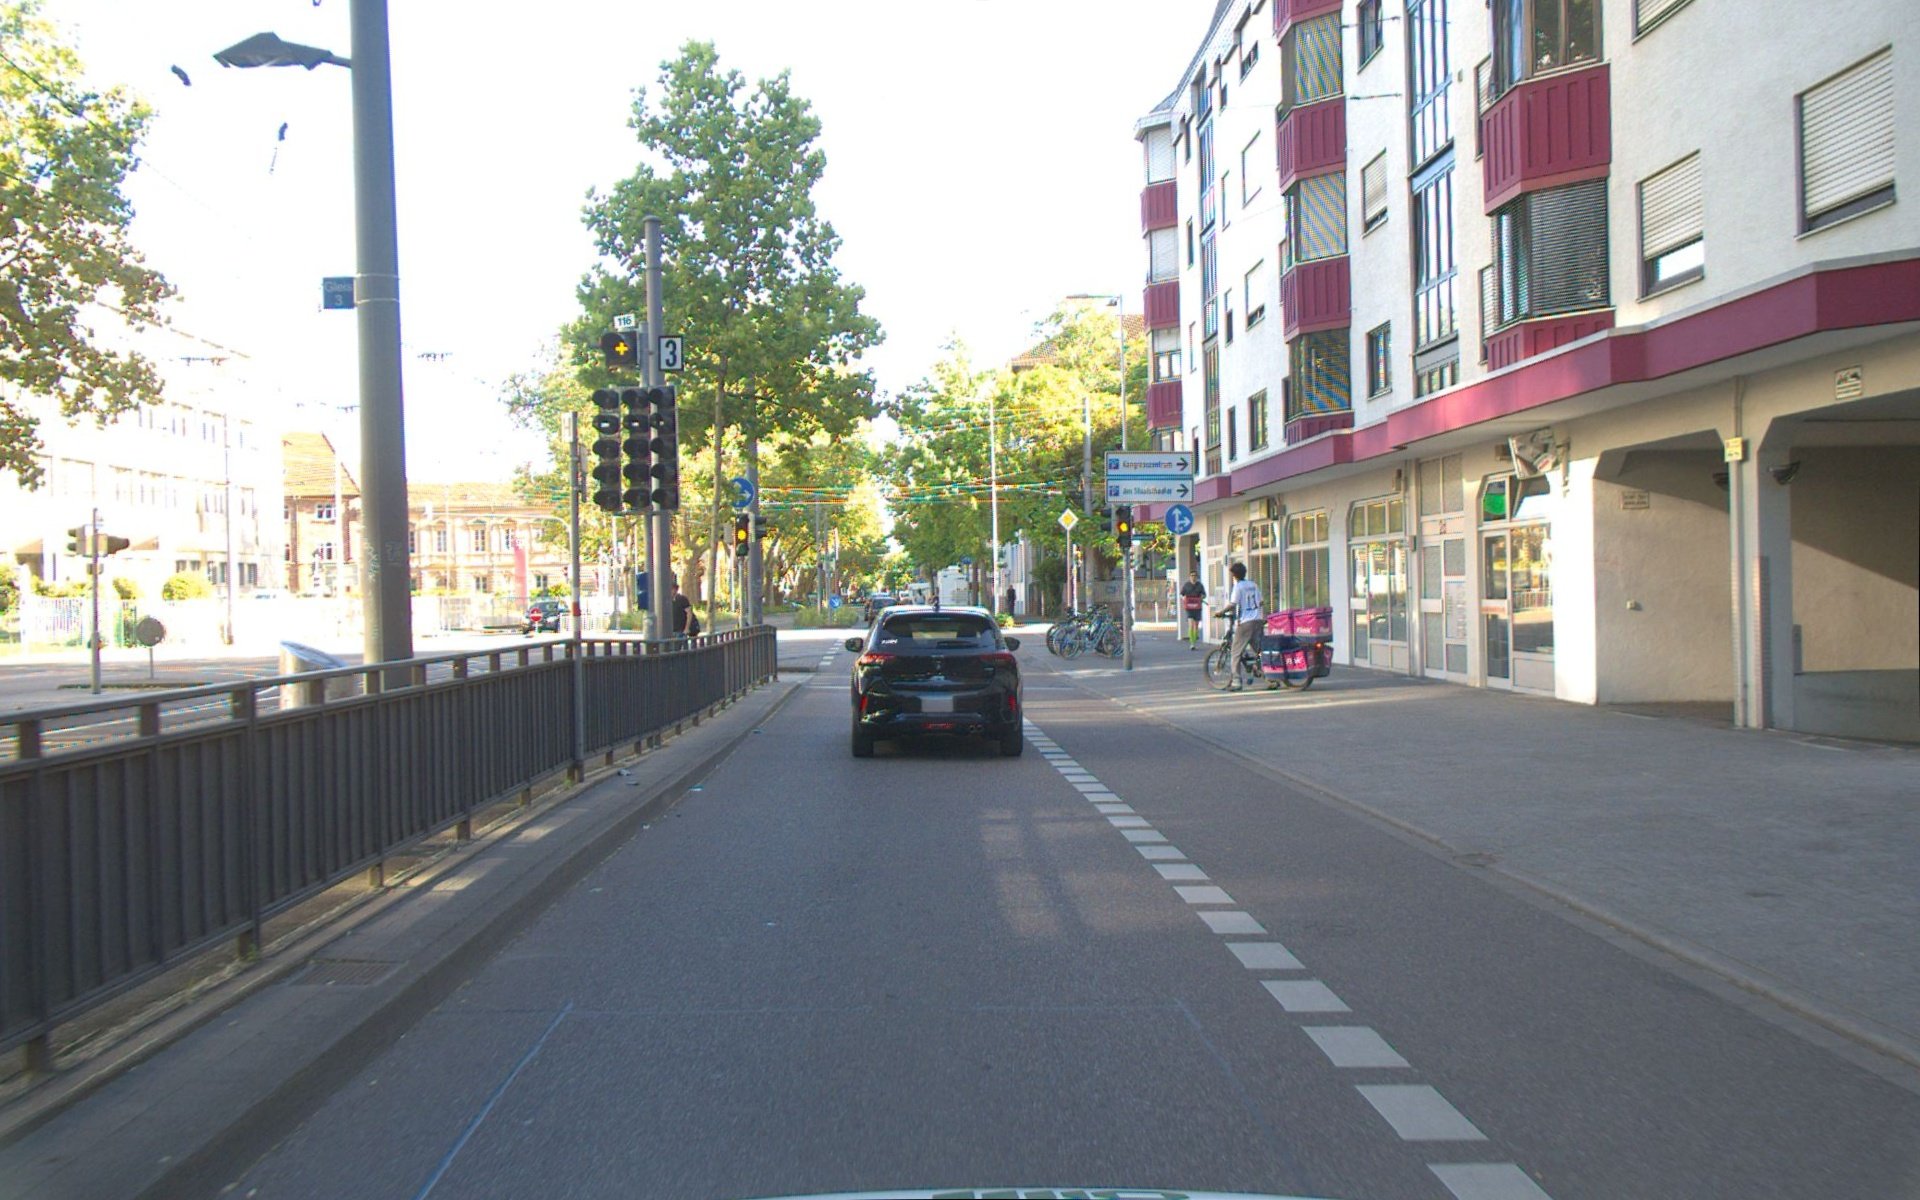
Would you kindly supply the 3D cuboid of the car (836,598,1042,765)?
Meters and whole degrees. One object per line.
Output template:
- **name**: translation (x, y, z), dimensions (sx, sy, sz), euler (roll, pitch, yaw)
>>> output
- **car**: translation (-0.230, 0.746, 17.358), dimensions (1.866, 1.450, 4.214), euler (-1, 1, -1)

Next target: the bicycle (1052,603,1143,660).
- **bicycle**: translation (3.041, 0.695, 36.589), dimensions (1.902, 1.190, 0.571), euler (-2, 0, -5)

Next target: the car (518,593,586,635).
- **car**: translation (-20.261, 0.671, 82.355), dimensions (1.951, 1.981, 4.427), euler (-1, 1, 4)

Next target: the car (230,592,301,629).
- **car**: translation (-40.844, 0.608, 97.391), dimensions (1.952, 2.049, 4.726), euler (-2, 1, 3)

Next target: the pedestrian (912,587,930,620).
- **pedestrian**: translation (-2.462, 0.239, 104.217), dimensions (1.015, 2.059, 1.212), euler (-1, 0, -3)

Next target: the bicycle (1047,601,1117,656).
- **bicycle**: translation (2.846, 0.667, 38.660), dimensions (1.589, 1.220, 0.496), euler (-2, 0, 2)

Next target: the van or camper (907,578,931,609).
- **van or camper**: translation (-4.117, -0.653, 166.981), dimensions (2.436, 3.046, 5.433), euler (0, 0, -1)

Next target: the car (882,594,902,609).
- **car**: translation (-6.786, 0.128, 166.014), dimensions (1.866, 1.450, 4.214), euler (-1, 1, -1)

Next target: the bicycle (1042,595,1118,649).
- **bicycle**: translation (2.848, 0.524, 39.407), dimensions (1.764, 1.220, 0.546), euler (-2, -1, 2)

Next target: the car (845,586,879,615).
- **car**: translation (-5.738, 0.009, 97.457), dimensions (1.954, 1.656, 4.468), euler (1, 0, -3)

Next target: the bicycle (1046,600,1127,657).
- **bicycle**: translation (2.910, 0.659, 38.091), dimensions (1.793, 1.242, 0.496), euler (-2, 0, 1)

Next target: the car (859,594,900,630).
- **car**: translation (-3.807, 0.561, 78.703), dimensions (1.795, 1.651, 4.283), euler (-1, 0, -1)

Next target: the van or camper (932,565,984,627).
- **van or camper**: translation (-0.175, -0.255, 93.668), dimensions (2.329, 3.179, 7.546), euler (-4, 0, -3)

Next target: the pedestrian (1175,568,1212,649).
- **pedestrian**: translation (5.618, 0.199, 39.804), dimensions (0.708, 1.890, 0.800), euler (-2, 0, -3)

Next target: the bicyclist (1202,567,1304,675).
- **bicyclist**: translation (4.439, 0.314, 25.077), dimensions (1.050, 1.567, 1.064), euler (-2, 0, -39)

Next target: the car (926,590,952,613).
- **car**: translation (-1.547, 0.095, 120.528), dimensions (1.754, 1.536, 3.872), euler (-3, 0, -2)

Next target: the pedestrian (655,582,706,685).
- **pedestrian**: translation (-4.921, 0.583, 29.141), dimensions (0.719, 1.777, 0.712), euler (-1, 0, 3)

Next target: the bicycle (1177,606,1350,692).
- **bicycle**: translation (4.544, 0.715, 24.966), dimensions (0.954, 1.204, 2.561), euler (-2, 0, -39)

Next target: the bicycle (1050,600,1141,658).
- **bicycle**: translation (3.039, 0.647, 37.218), dimensions (1.939, 1.220, 0.590), euler (-2, 0, -7)

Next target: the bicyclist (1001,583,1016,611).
- **bicyclist**: translation (2.702, -0.186, 92.219), dimensions (0.733, 1.536, 0.702), euler (-1, 0, 5)

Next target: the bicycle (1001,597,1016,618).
- **bicycle**: translation (2.710, 0.414, 92.232), dimensions (0.626, 1.089, 1.952), euler (-2, 0, 5)

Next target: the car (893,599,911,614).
- **car**: translation (-6.392, 0.715, 181.393), dimensions (1.866, 1.450, 4.214), euler (-1, 1, -1)
